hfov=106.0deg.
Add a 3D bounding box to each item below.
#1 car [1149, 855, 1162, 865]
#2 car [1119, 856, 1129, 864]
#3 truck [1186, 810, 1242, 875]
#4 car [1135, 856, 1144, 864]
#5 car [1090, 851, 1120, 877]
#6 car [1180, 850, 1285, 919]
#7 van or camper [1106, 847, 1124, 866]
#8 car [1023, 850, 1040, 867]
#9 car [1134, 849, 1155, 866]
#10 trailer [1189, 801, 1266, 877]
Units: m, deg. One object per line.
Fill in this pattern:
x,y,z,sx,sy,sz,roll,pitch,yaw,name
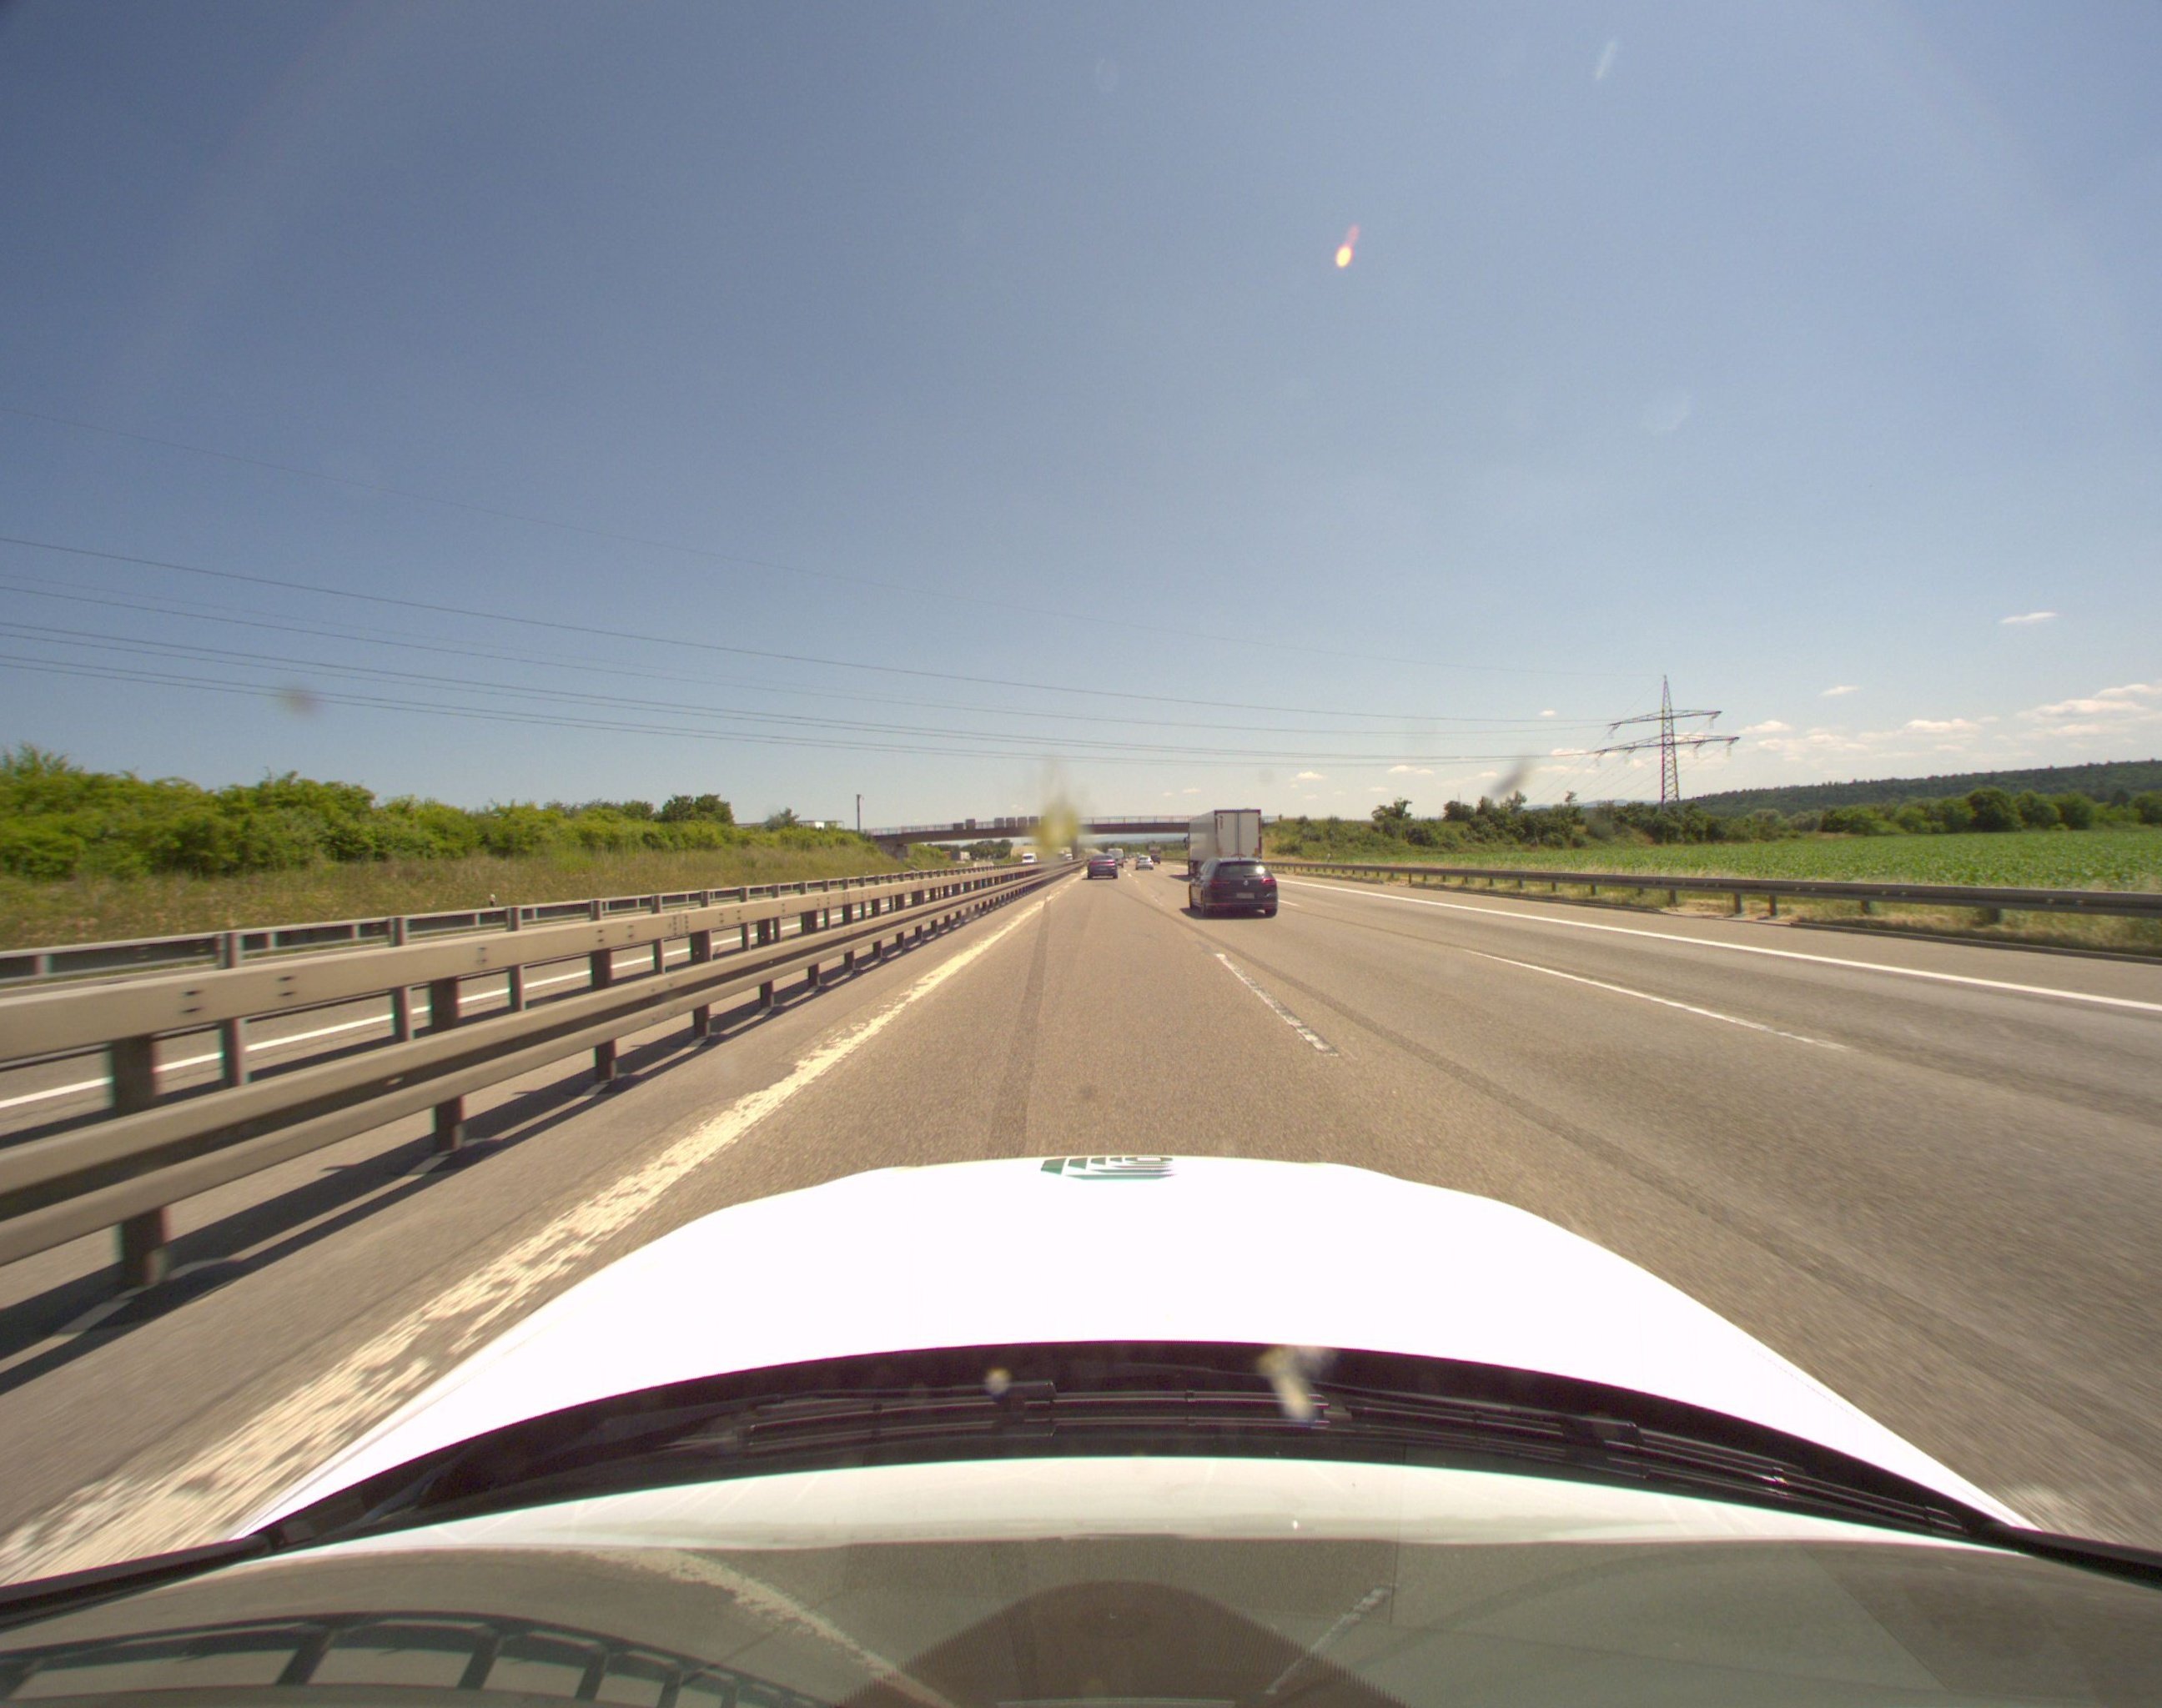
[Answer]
12.388,0.961,135.553,1.986,1.683,4.002,-1,0,2,car
9.035,1.287,171.089,1.986,1.683,4.002,-1,0,2,car
9.206,-0.756,57.215,2.968,4.228,7.691,-1,0,2,truck
13.043,1.399,181.872,1.986,1.683,4.002,-1,0,2,car
1.548,0.650,53.898,1.846,1.664,3.733,-1,0,-1,car
3.775,0.719,21.171,1.926,1.574,4.936,-1,0,1,car
4.201,0.275,99.677,2.102,2.211,5.268,-1,0,2,van or camper
-8.182,0.765,134.157,2.024,2.605,7.603,-1,0,2,car
6.602,0.371,85.105,1.986,1.683,4.002,-1,0,2,car
9.001,-0.795,51.805,2.932,4.198,13.603,-1,0,2,trailer
